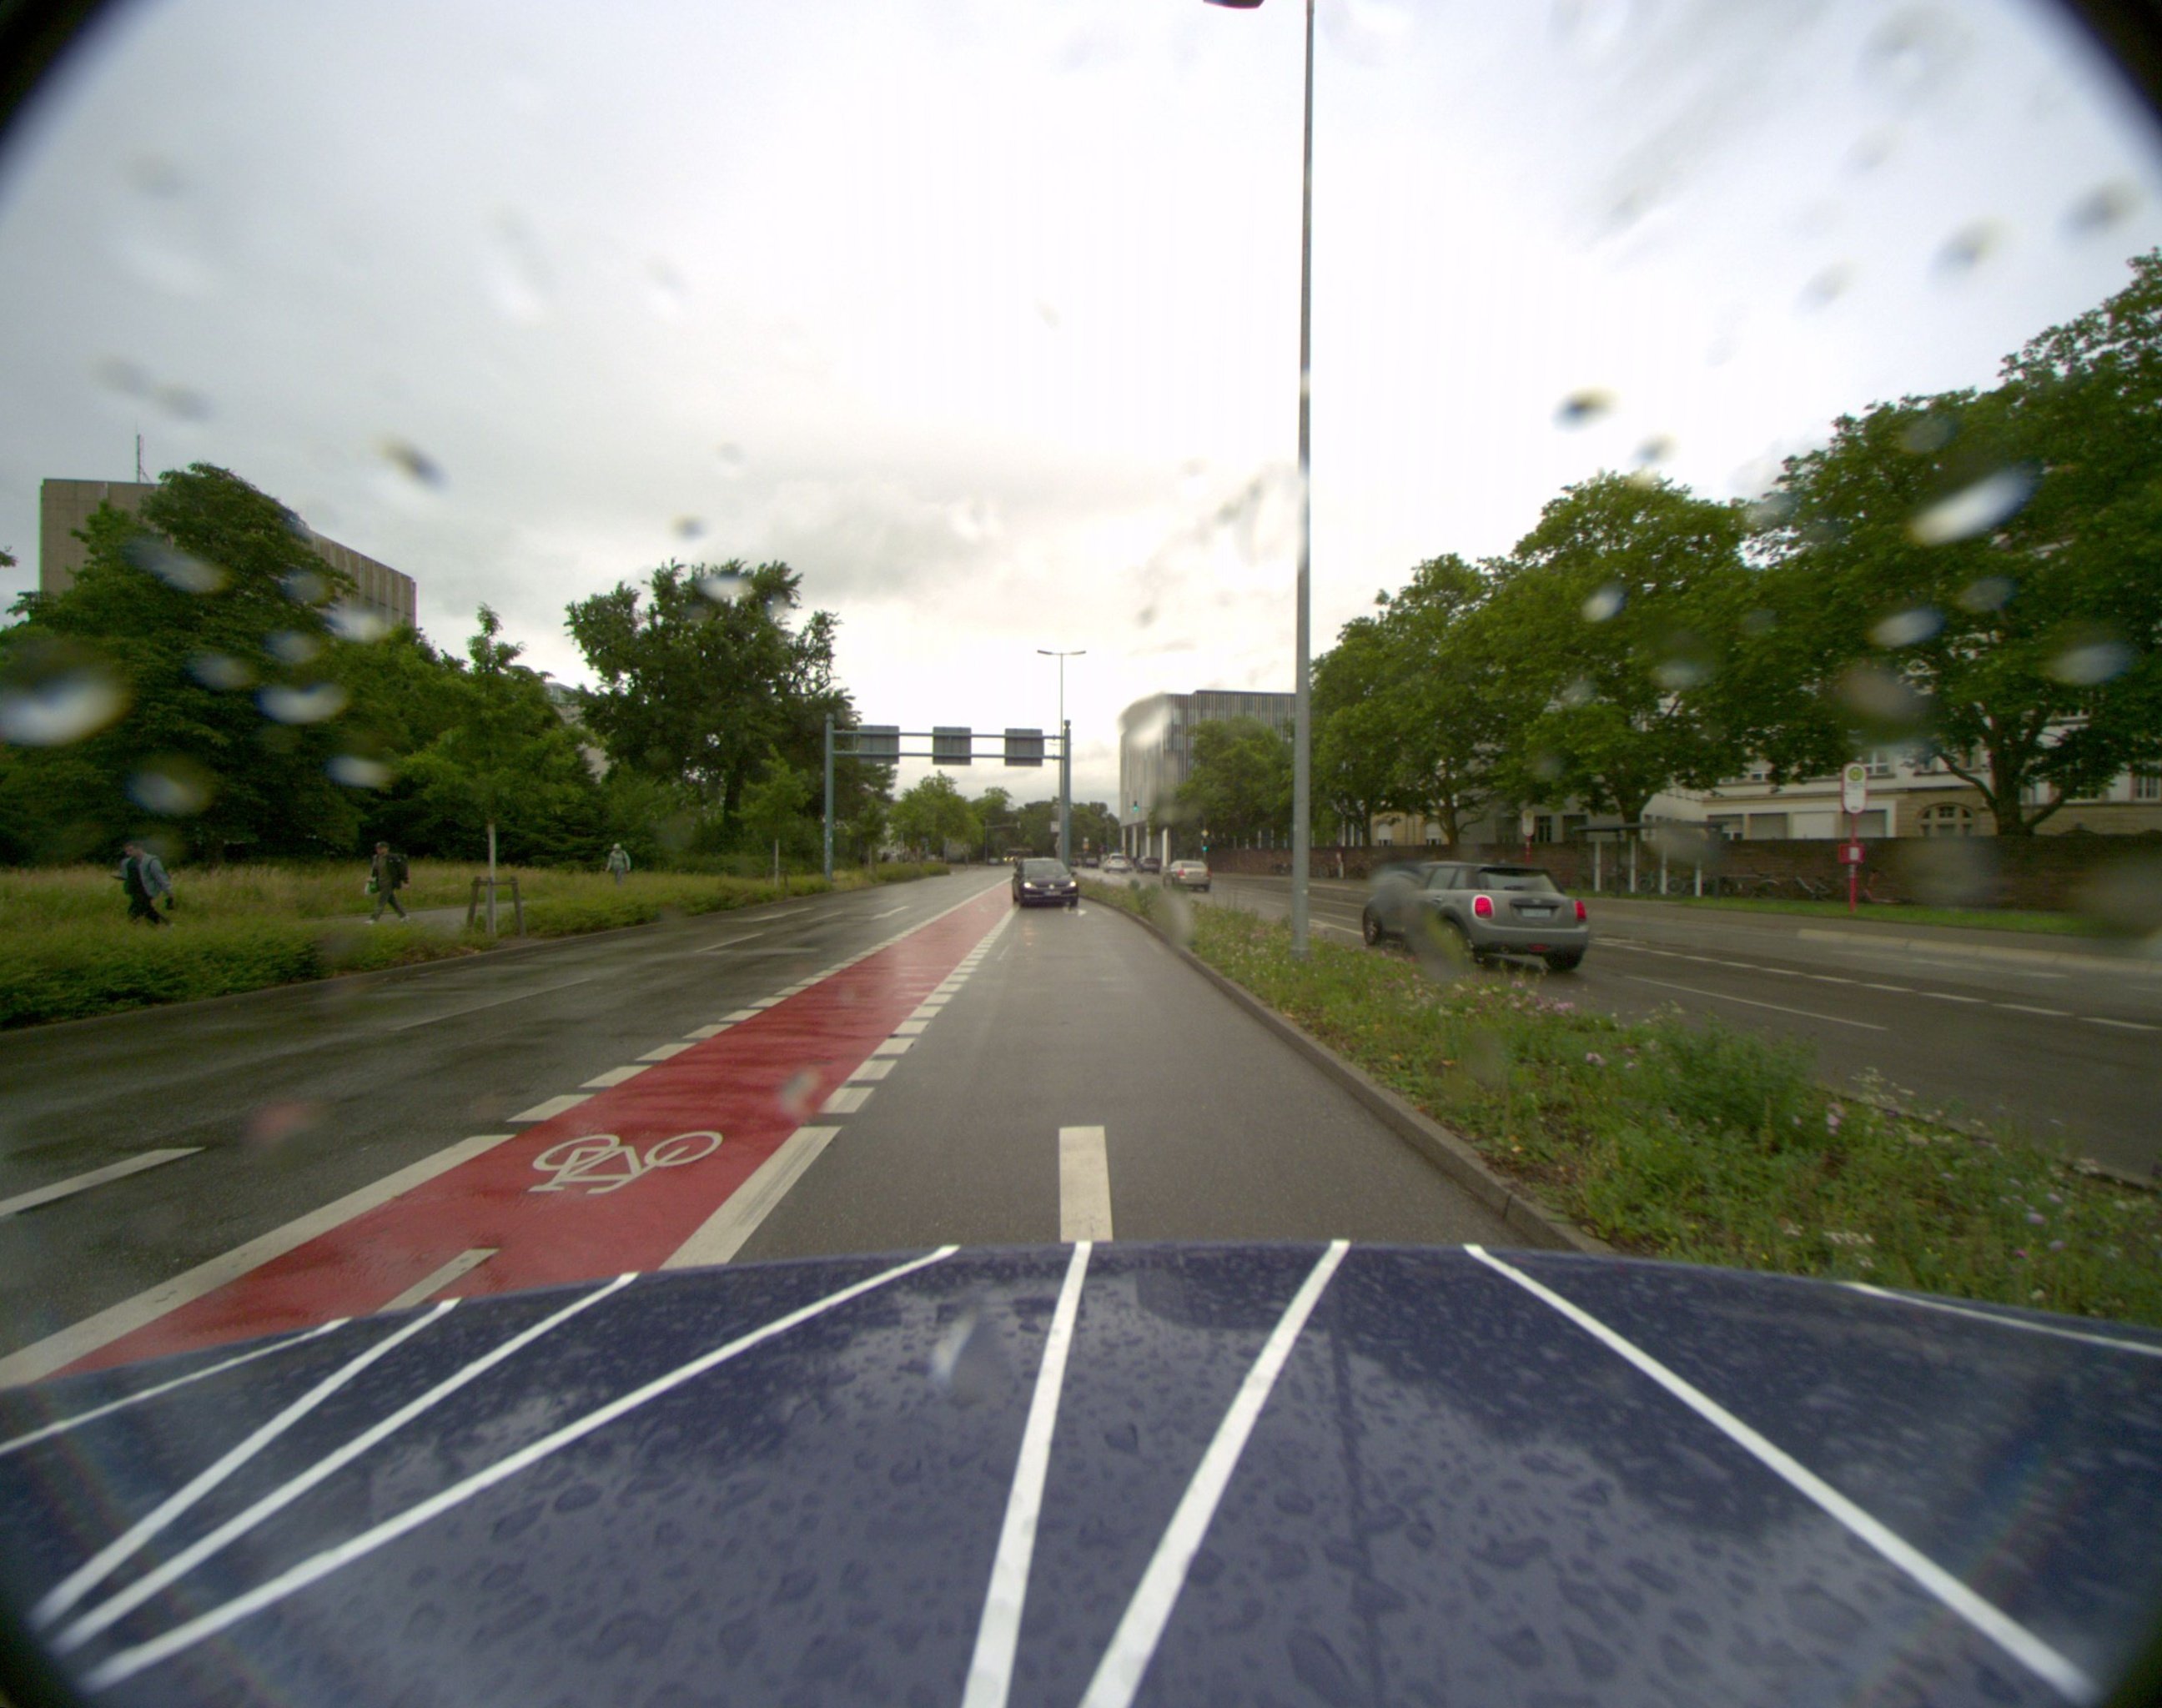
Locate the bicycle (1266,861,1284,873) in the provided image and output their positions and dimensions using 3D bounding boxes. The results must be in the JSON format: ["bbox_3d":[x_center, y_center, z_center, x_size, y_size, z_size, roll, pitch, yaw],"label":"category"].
[{"bbox_3d":[15.947,1.036,62.395,0.734,0.977,1.699,0,0,-14],"label":"bicycle"}]

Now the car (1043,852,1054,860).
[{"bbox_3d":[-5.894,0.380,139.068,1.684,1.493,3.865,1,0,-7],"label":"car"}]

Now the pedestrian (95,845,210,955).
[{"bbox_3d":[-15.613,0.754,12.800,0.935,1.786,0.829,0,0,4],"label":"pedestrian"}]

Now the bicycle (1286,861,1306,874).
[{"bbox_3d":[16.606,1.036,58.724,0.734,0.977,1.699,0,0,-14],"label":"bicycle"}]

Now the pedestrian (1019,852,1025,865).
[{"bbox_3d":[-8.169,0.660,104.915,0.786,1.814,0.625,0,0,1],"label":"pedestrian"}]

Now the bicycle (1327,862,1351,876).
[{"bbox_3d":[17.866,1.038,52.675,0.734,0.977,1.699,0,0,-14],"label":"bicycle"}]

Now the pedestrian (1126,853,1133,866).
[{"bbox_3d":[6.793,0.721,107.068,0.788,1.813,0.623,0,0,-26],"label":"pedestrian"}]

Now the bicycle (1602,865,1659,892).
[{"bbox_3d":[23.715,1.045,32.849,0.575,1.129,1.987,0,0,-22],"label":"bicycle"}]

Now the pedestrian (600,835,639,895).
[{"bbox_3d":[-15.670,0.362,25.822,0.792,2.002,0.829,0,0,4],"label":"pedestrian"}]

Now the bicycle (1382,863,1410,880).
[{"bbox_3d":[19.300,1.055,46.601,0.734,0.977,1.699,0,0,-14],"label":"bicycle"}]

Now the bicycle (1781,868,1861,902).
[{"bbox_3d":[26.236,1.079,26.971,0.575,1.129,1.988,0,0,-19],"label":"bicycle"}]

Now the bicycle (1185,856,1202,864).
[{"bbox_3d":[16.089,0.862,108.784,2.287,1.215,0.598,0,0,-15],"label":"bicycle"}]

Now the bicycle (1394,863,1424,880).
[{"bbox_3d":[19.531,1.055,45.267,0.734,0.977,1.699,0,0,-14],"label":"bicycle"}]

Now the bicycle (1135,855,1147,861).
[{"bbox_3d":[11.839,0.735,149.303,2.283,1.215,0.599,0,0,6],"label":"bicycle"}]

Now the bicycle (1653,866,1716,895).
[{"bbox_3d":[24.555,1.049,30.955,0.575,1.129,1.988,0,0,-19],"label":"bicycle"}]

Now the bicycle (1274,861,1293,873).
[{"bbox_3d":[16.070,1.034,60.374,0.734,0.977,1.699,0,0,-14],"label":"bicycle"}]

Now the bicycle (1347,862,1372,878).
[{"bbox_3d":[18.319,1.038,49.947,0.734,0.977,1.699,0,0,-14],"label":"bicycle"}]

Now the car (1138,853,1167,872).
[{"bbox_3d":[6.843,0.792,73.338,1.999,1.626,4.600,2,0,-5],"label":"car"}]

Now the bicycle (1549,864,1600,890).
[{"bbox_3d":[22.765,1.041,35.068,0.575,1.129,1.987,0,0,-22],"label":"bicycle"}]

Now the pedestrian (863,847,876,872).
[{"bbox_3d":[-16.134,0.434,58.053,0.731,1.848,0.851,0,0,4],"label":"pedestrian"}]

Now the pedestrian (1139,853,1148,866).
[{"bbox_3d":[8.770,0.727,106.657,0.941,1.813,0.921,0,0,-26],"label":"pedestrian"}]

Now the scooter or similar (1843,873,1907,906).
[{"bbox_3d":[26.747,1.190,25.617,0.574,1.040,1.360,0,0,-19],"label":"scooter or similar"}]

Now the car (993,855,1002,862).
[{"bbox_3d":[-15.700,0.861,143.156,1.661,1.259,4.105,0,0,-4],"label":"car"}]

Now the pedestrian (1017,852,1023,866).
[{"bbox_3d":[-8.329,0.691,104.126,0.786,1.814,0.625,0,0,1],"label":"pedestrian"}]

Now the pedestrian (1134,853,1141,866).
[{"bbox_3d":[7.880,0.725,106.109,0.788,1.814,0.794,0,0,-26],"label":"pedestrian"}]

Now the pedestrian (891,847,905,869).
[{"bbox_3d":[-14.570,0.353,60.494,0.935,1.710,0.829,-1,-2,2],"label":"pedestrian"}]

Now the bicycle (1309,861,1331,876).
[{"bbox_3d":[17.213,1.036,54.743,0.734,0.977,1.699,0,0,-14],"label":"bicycle"}]

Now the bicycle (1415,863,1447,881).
[{"bbox_3d":[19.739,1.023,42.920,0.734,0.977,1.699,0,0,-14],"label":"bicycle"}]

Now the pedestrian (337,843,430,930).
[{"bbox_3d":[-14.389,0.651,15.702,0.935,1.737,1.046,0,0,4],"label":"pedestrian"}]

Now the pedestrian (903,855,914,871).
[{"bbox_3d":[-17.504,0.894,77.171,0.878,1.598,0.862,0,0,-24],"label":"pedestrian"}]

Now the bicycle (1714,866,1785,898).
[{"bbox_3d":[25.291,1.051,28.803,0.575,1.129,1.988,0,0,-19],"label":"bicycle"}]

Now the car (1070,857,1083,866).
[{"bbox_3d":[-0.802,1.312,127.164,1.629,1.407,4.063,2,0,-6],"label":"car"}]

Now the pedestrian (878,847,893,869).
[{"bbox_3d":[-15.589,0.354,60.667,0.935,1.693,0.829,-1,-2,2],"label":"pedestrian"}]

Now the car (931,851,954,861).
[{"bbox_3d":[-28.436,0.434,156.006,4.428,1.862,1.636,0,0,-11],"label":"car"}]

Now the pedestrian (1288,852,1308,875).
[{"bbox_3d":[15.950,0.691,55.851,0.871,1.686,1.399,0,0,-9],"label":"pedestrian"}]

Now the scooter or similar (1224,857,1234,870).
[{"bbox_3d":[14.047,0.929,72.040,0.392,1.191,1.141,-7,1,-9],"label":"scooter or similar"}]

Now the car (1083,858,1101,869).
[{"bbox_3d":[1.600,1.356,112.242,1.815,1.531,4.698,2,0,-10],"label":"car"}]

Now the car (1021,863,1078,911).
[{"bbox_3d":[-1.078,1.001,24.320,1.661,1.356,4.105,0,0,-4],"label":"car"}]

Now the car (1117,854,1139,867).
[{"bbox_3d":[5.572,0.751,90.482,1.685,1.396,4.154,1,0,-9],"label":"car"}]

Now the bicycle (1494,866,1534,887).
[{"bbox_3d":[21.651,1.128,38.025,0.734,0.977,1.699,0,0,-14],"label":"bicycle"}]

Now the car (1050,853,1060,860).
[{"bbox_3d":[-5.158,0.458,150.445,1.600,1.407,4.522,2,0,-5],"label":"car"}]

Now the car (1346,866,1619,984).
[{"bbox_3d":[5.666,0.909,11.412,1.777,1.368,4.120,3,-1,-2],"label":"car"}]

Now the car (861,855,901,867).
[{"bbox_3d":[-24.239,0.796,92.248,4.389,1.330,1.771,0,3,-6],"label":"car"}]

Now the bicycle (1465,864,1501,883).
[{"bbox_3d":[21.200,1.014,40.060,0.734,0.977,1.699,0,0,-14],"label":"bicycle"}]

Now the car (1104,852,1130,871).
[{"bbox_3d":[3.410,0.686,72.282,1.831,1.672,5.163,2,0,-4],"label":"car"}]

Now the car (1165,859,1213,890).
[{"bbox_3d":[5.195,0.962,37.004,1.698,1.407,4.182,0,0,-1],"label":"car"}]

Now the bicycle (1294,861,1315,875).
[{"bbox_3d":[16.628,1.033,56.542,0.733,0.977,1.863,0,0,-9],"label":"bicycle"}]

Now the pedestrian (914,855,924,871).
[{"bbox_3d":[-16.566,0.914,77.581,0.878,1.598,0.862,0,0,-25],"label":"pedestrian"}]

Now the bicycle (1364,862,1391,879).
[{"bbox_3d":[18.819,1.038,48.269,0.734,0.977,1.699,0,0,-14],"label":"bicycle"}]
